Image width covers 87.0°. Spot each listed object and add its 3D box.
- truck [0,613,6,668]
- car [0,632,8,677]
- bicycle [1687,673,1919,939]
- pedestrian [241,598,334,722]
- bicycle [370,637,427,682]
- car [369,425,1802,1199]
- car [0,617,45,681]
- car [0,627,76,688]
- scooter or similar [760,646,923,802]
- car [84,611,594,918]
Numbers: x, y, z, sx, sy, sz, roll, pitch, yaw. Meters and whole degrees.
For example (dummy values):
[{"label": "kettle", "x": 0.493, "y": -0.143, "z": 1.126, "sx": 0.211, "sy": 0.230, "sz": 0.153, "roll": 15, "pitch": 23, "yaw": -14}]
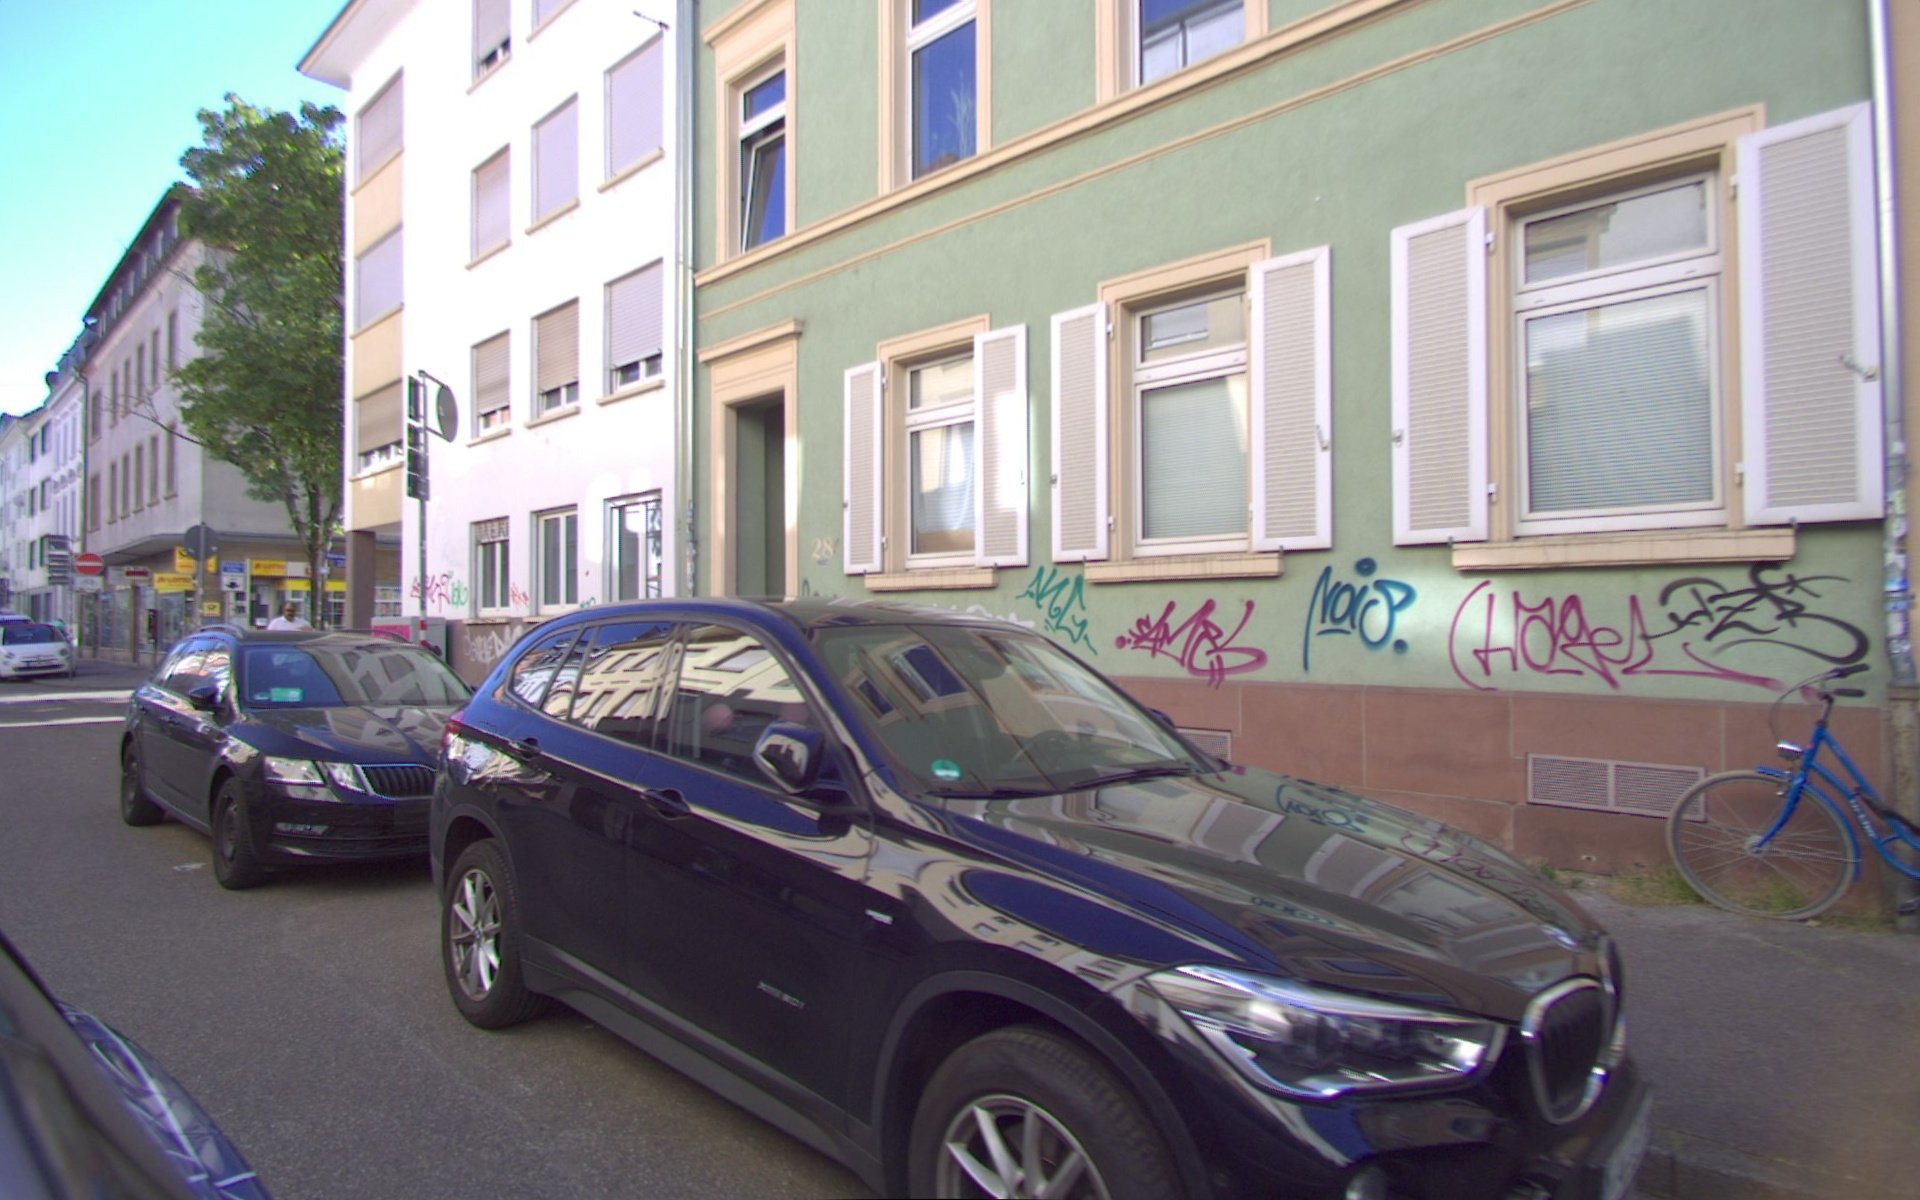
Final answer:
[{"label": "truck", "x": -43.280, "y": 1.673, "z": 43.529, "sx": 6.337, "sy": 2.326, "sz": 2.145, "roll": 0, "pitch": -3, "yaw": 37}, {"label": "car", "x": -35.026, "y": 1.891, "z": 35.694, "sx": 4.486, "sy": 1.535, "sz": 1.647, "roll": -2, "pitch": -4, "yaw": 41}, {"label": "bicycle", "x": 4.152, "y": 0.862, "z": 4.108, "sx": 0.356, "sy": 1.036, "sz": 1.921, "roll": 1, "pitch": -2, "yaw": -38}, {"label": "pedestrian", "x": -10.584, "y": 0.910, "z": 15.924, "sx": 1.245, "sy": 1.846, "sz": 0.901, "roll": -1, "pitch": -2, "yaw": 42}, {"label": "bicycle", "x": -15.542, "y": 1.628, "z": 27.976, "sx": 2.308, "sy": 1.152, "sz": 0.699, "roll": -1, "pitch": -2, "yaw": 43}, {"label": "car", "x": -0.238, "y": 0.696, "z": 3.396, "sx": 4.602, "sy": 1.627, "sz": 1.725, "roll": -2, "pitch": -4, "yaw": 43}, {"label": "car", "x": -30.417, "y": 1.535, "z": 31.861, "sx": 4.806, "sy": 1.913, "sz": 1.748, "roll": -2, "pitch": -4, "yaw": 41}, {"label": "car", "x": -25.679, "y": 1.533, "z": 27.832, "sx": 3.722, "sy": 1.572, "sz": 1.649, "roll": -2, "pitch": -2, "yaw": 43}, {"label": "scooter or similar", "x": -1.061, "y": 1.016, "z": 8.766, "sx": 0.448, "sy": 1.190, "sz": 1.692, "roll": 2, "pitch": -2, "yaw": -45}, {"label": "car", "x": -4.666, "y": 0.897, "z": 7.226, "sx": 4.850, "sy": 1.500, "sz": 1.695, "roll": -1, "pitch": -4, "yaw": 41}]
